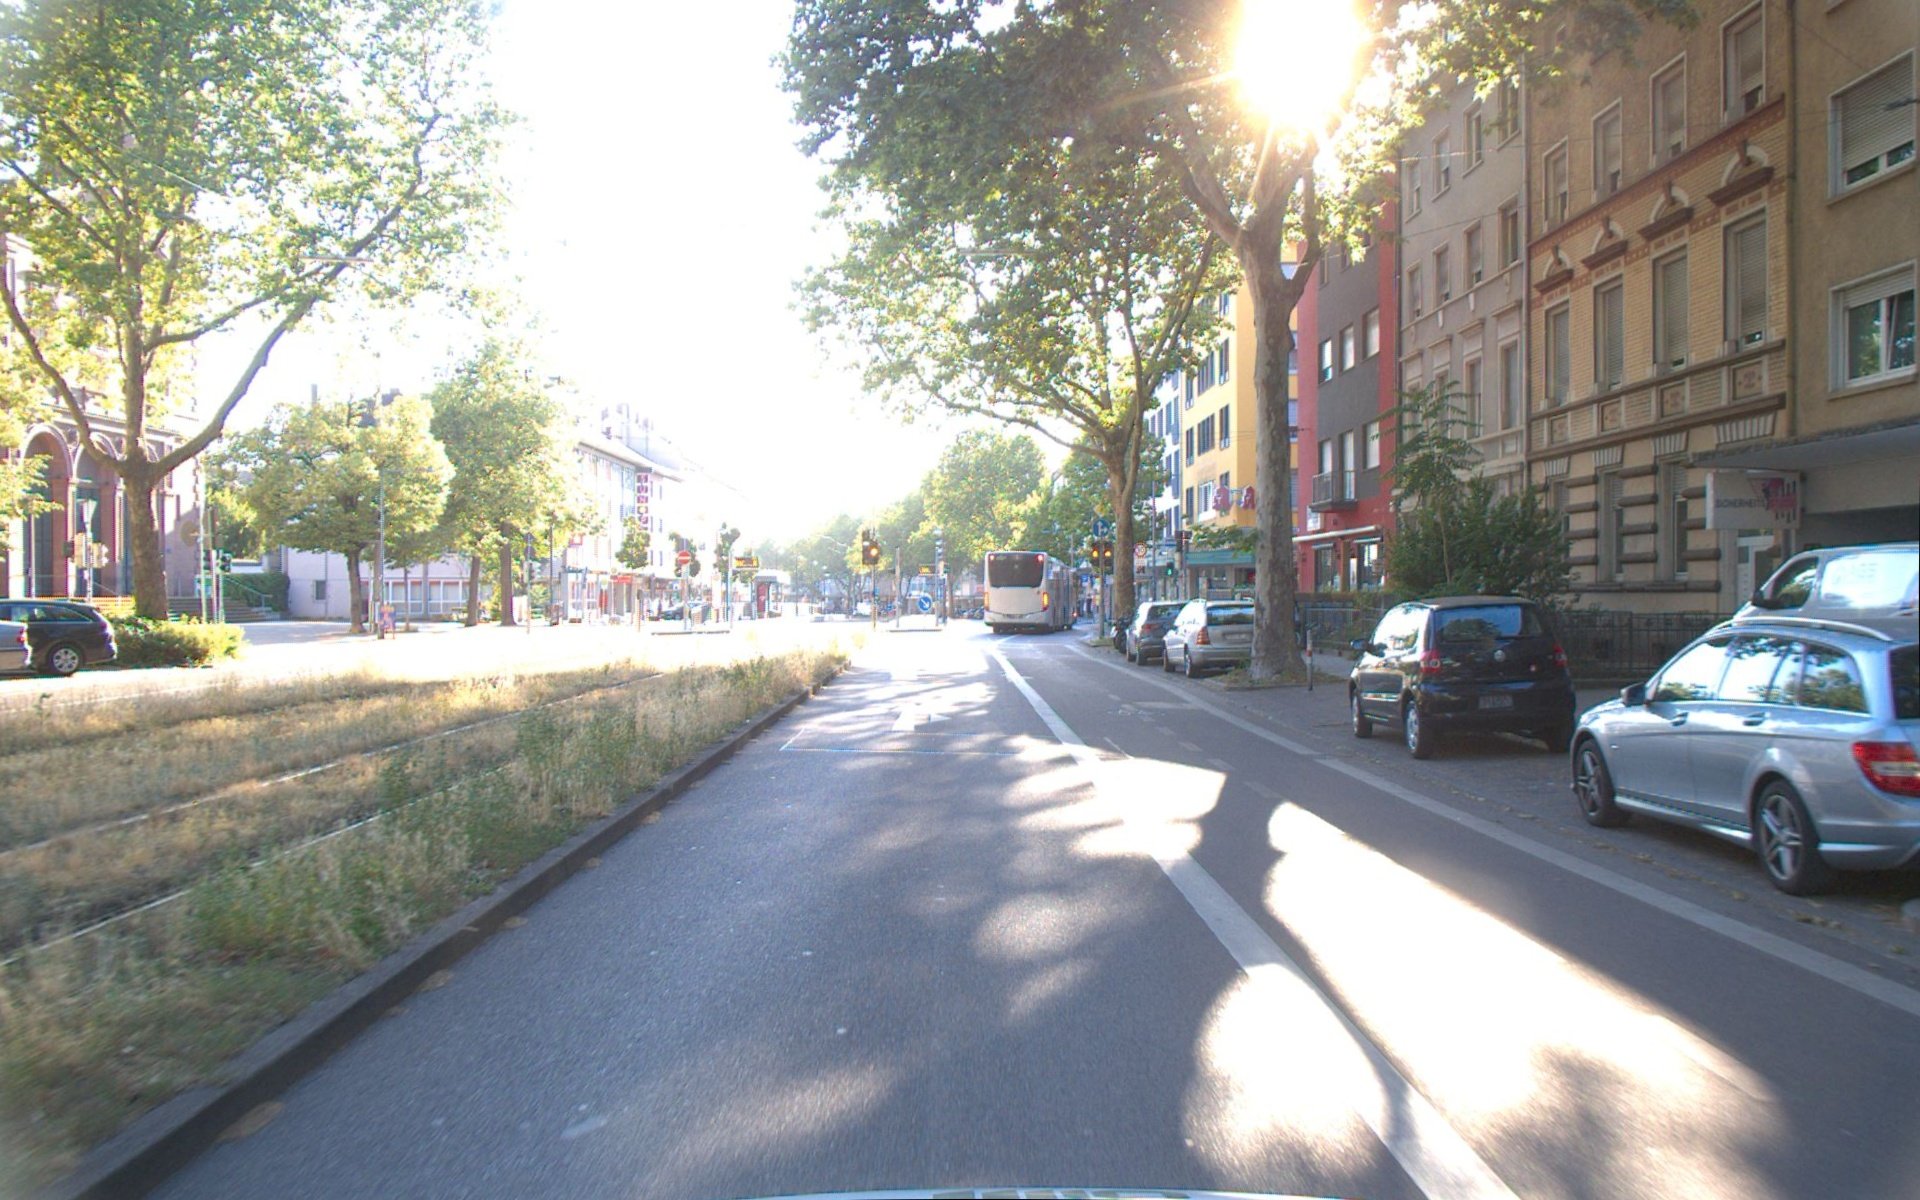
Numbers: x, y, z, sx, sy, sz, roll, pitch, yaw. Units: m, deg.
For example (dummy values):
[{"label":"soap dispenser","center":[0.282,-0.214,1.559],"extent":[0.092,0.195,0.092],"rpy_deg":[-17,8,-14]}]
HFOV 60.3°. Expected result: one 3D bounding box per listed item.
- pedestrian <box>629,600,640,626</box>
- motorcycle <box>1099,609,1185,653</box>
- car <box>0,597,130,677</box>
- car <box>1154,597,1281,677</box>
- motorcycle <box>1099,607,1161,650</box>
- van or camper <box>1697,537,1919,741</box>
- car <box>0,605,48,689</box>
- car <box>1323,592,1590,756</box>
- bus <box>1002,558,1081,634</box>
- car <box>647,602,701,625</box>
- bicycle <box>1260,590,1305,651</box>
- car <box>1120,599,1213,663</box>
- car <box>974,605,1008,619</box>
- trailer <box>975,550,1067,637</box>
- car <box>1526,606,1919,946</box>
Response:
[{"label":"pedestrian","center":[-26.109,1.024,132.562],"extent":[0.694,2.049,0.948],"rpy_deg":[1,-1,-4]},{"label":"motorcycle","center":[4.885,0.821,44.375],"extent":[2.175,1.081,0.762],"rpy_deg":[-2,1,-23]},{"label":"car","center":[-18.874,0.709,32.796],"extent":[3.968,1.505,1.789],"rpy_deg":[3,0,-43]},{"label":"car","center":[5.024,0.679,32.765],"extent":[1.640,1.477,4.569],"rpy_deg":[0,0,-2]},{"label":"motorcycle","center":[4.787,0.800,46.550],"extent":[1.982,1.172,0.592],"rpy_deg":[0,0,-43]},{"label":"van or camper","center":[10.129,0.364,17.801],"extent":[1.902,1.956,5.390],"rpy_deg":[0,0,-1]},{"label":"car","center":[-18.802,0.802,29.679],"extent":[3.965,1.466,1.696],"rpy_deg":[3,0,-42]},{"label":"car","center":[5.233,0.708,17.973],"extent":[1.620,1.572,3.999],"rpy_deg":[0,0,-1]},{"label":"bus","center":[3.838,-0.140,76.071],"extent":[2.752,3.155,9.101],"rpy_deg":[2,0,8]},{"label":"car","center":[-23.283,1.101,134.508],"extent":[3.938,1.847,1.983],"rpy_deg":[0,0,-27]},{"label":"bicycle","center":[7.958,0.501,40.902],"extent":[0.594,1.451,2.396],"rpy_deg":[2,0,0]},{"label":"car","center":[4.813,0.687,39.029],"extent":[1.675,1.421,4.321],"rpy_deg":[0,0,1]},{"label":"car","center":[3.801,1.434,203.459],"extent":[3.846,1.729,1.816],"rpy_deg":[0,0,-29]},{"label":"trailer","center":[2.597,-0.214,67.197],"extent":[2.752,3.164,8.801],"rpy_deg":[2,0,8]},{"label":"car","center":[5.186,0.840,10.217],"extent":[1.660,1.569,4.776],"rpy_deg":[0,0,-1]}]
